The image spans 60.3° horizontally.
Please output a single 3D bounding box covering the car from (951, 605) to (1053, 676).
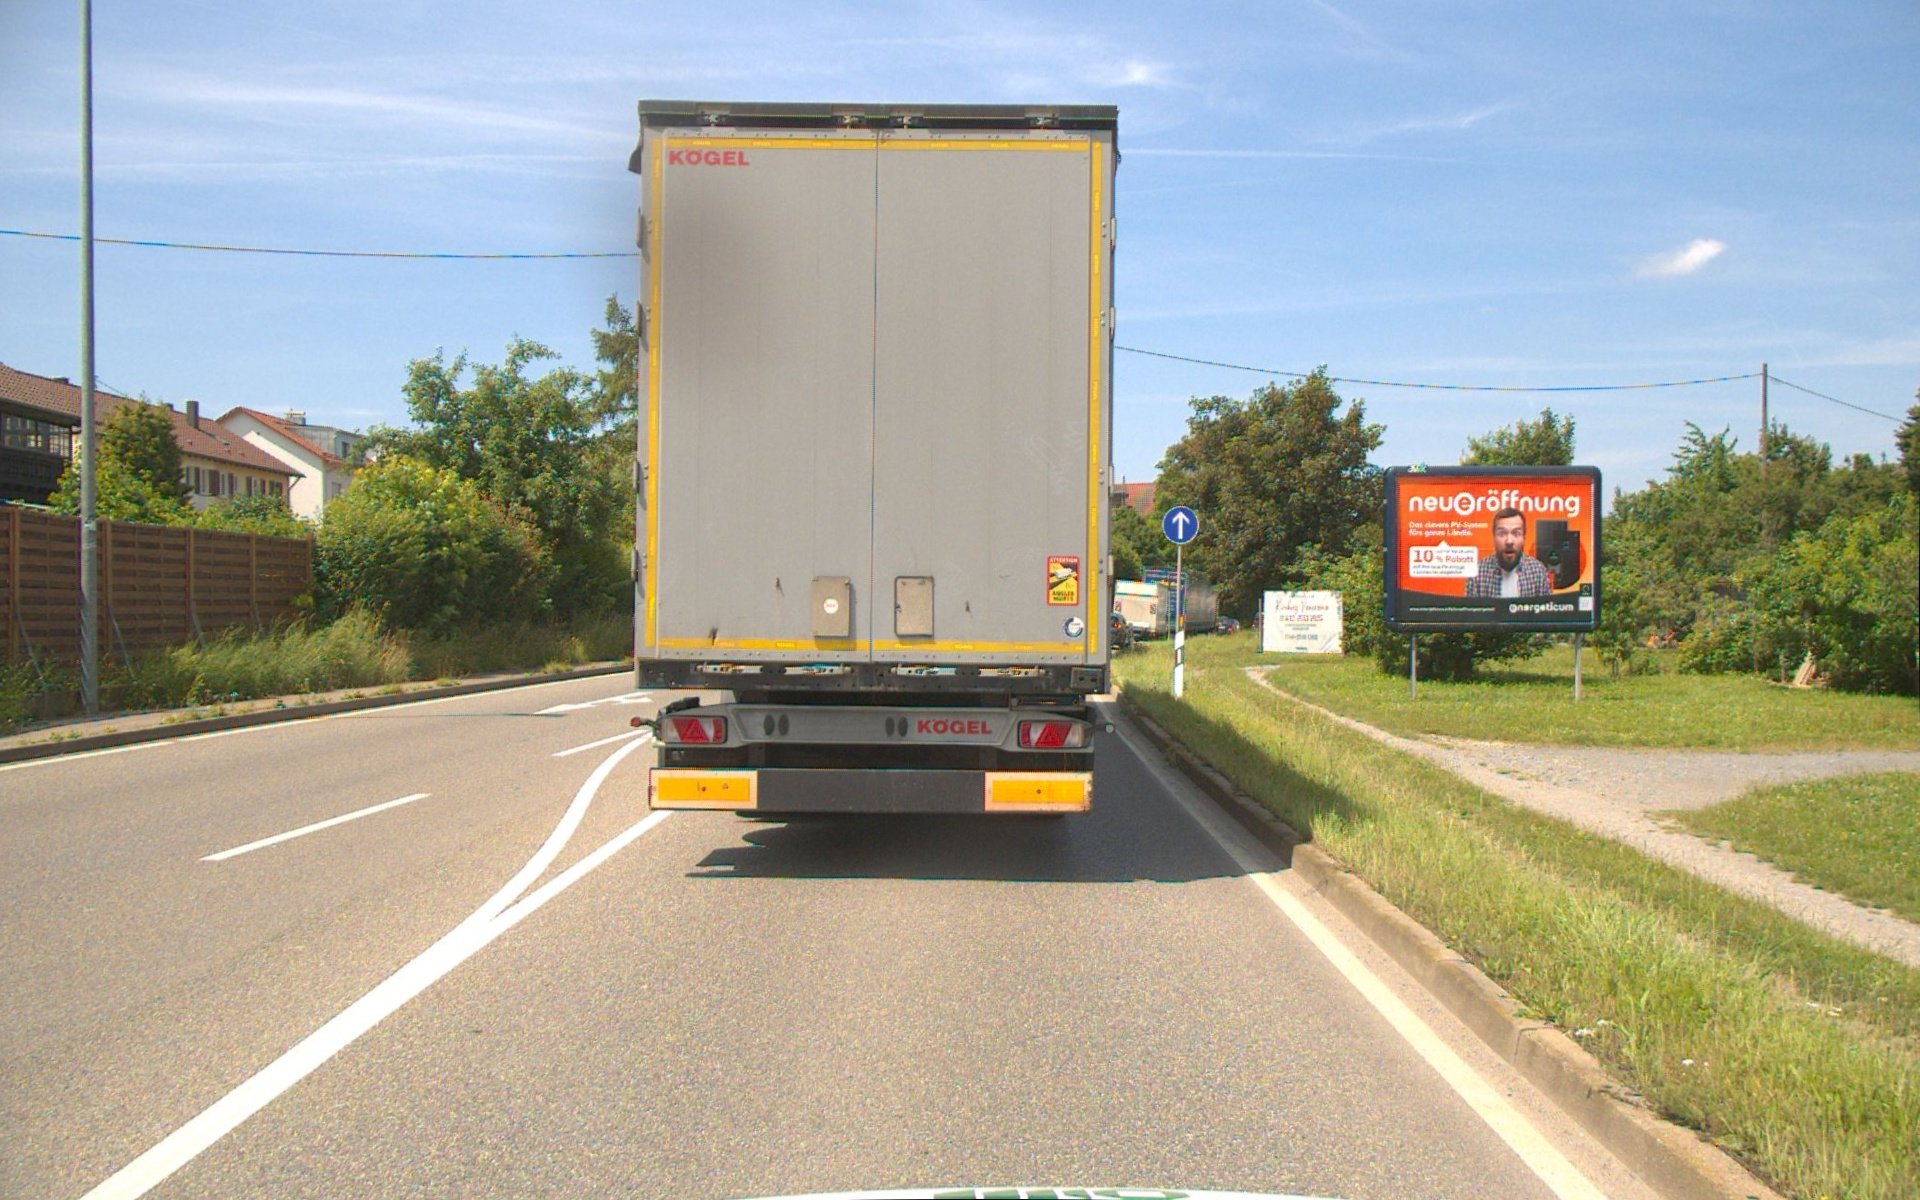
[{"bbox_3d":[0.947,0.835,34.895,1.780,1.370,3.850,1,-1,7],"label":"car"}]

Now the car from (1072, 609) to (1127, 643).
[{"bbox_3d":[6.083,1.111,71.695,1.951,1.400,4.003,1,-1,11],"label":"car"}]

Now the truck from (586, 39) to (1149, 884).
[{"bbox_3d":[-0.310,-0.737,14.023,2.763,4.200,11.446,1,0,2],"label":"truck"}]

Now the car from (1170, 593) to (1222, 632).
[{"bbox_3d":[14.733,0.749,103.030,2.478,2.317,6.386,1,0,15],"label":"car"}]

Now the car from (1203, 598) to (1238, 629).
[{"bbox_3d":[17.688,0.935,112.242,1.951,2.049,4.003,1,-1,15],"label":"car"}]

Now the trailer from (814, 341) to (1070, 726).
[{"bbox_3d":[-0.117,-0.748,21.382,2.767,4.183,6.545,1,0,1],"label":"trailer"}]

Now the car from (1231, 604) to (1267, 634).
[{"bbox_3d":[21.042,1.393,120.397,1.952,2.049,4.001,1,-1,19],"label":"car"}]

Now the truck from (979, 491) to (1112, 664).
[{"bbox_3d":[2.923,-0.471,50.333,2.701,4.364,16.427,1,-1,7],"label":"truck"}]

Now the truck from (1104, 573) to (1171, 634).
[{"bbox_3d":[8.814,0.214,81.527,2.489,2.852,6.036,1,-1,13],"label":"truck"}]

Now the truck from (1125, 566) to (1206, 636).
[{"bbox_3d":[11.629,0.026,92.841,3.360,3.667,9.361,1,1,14],"label":"truck"}]
